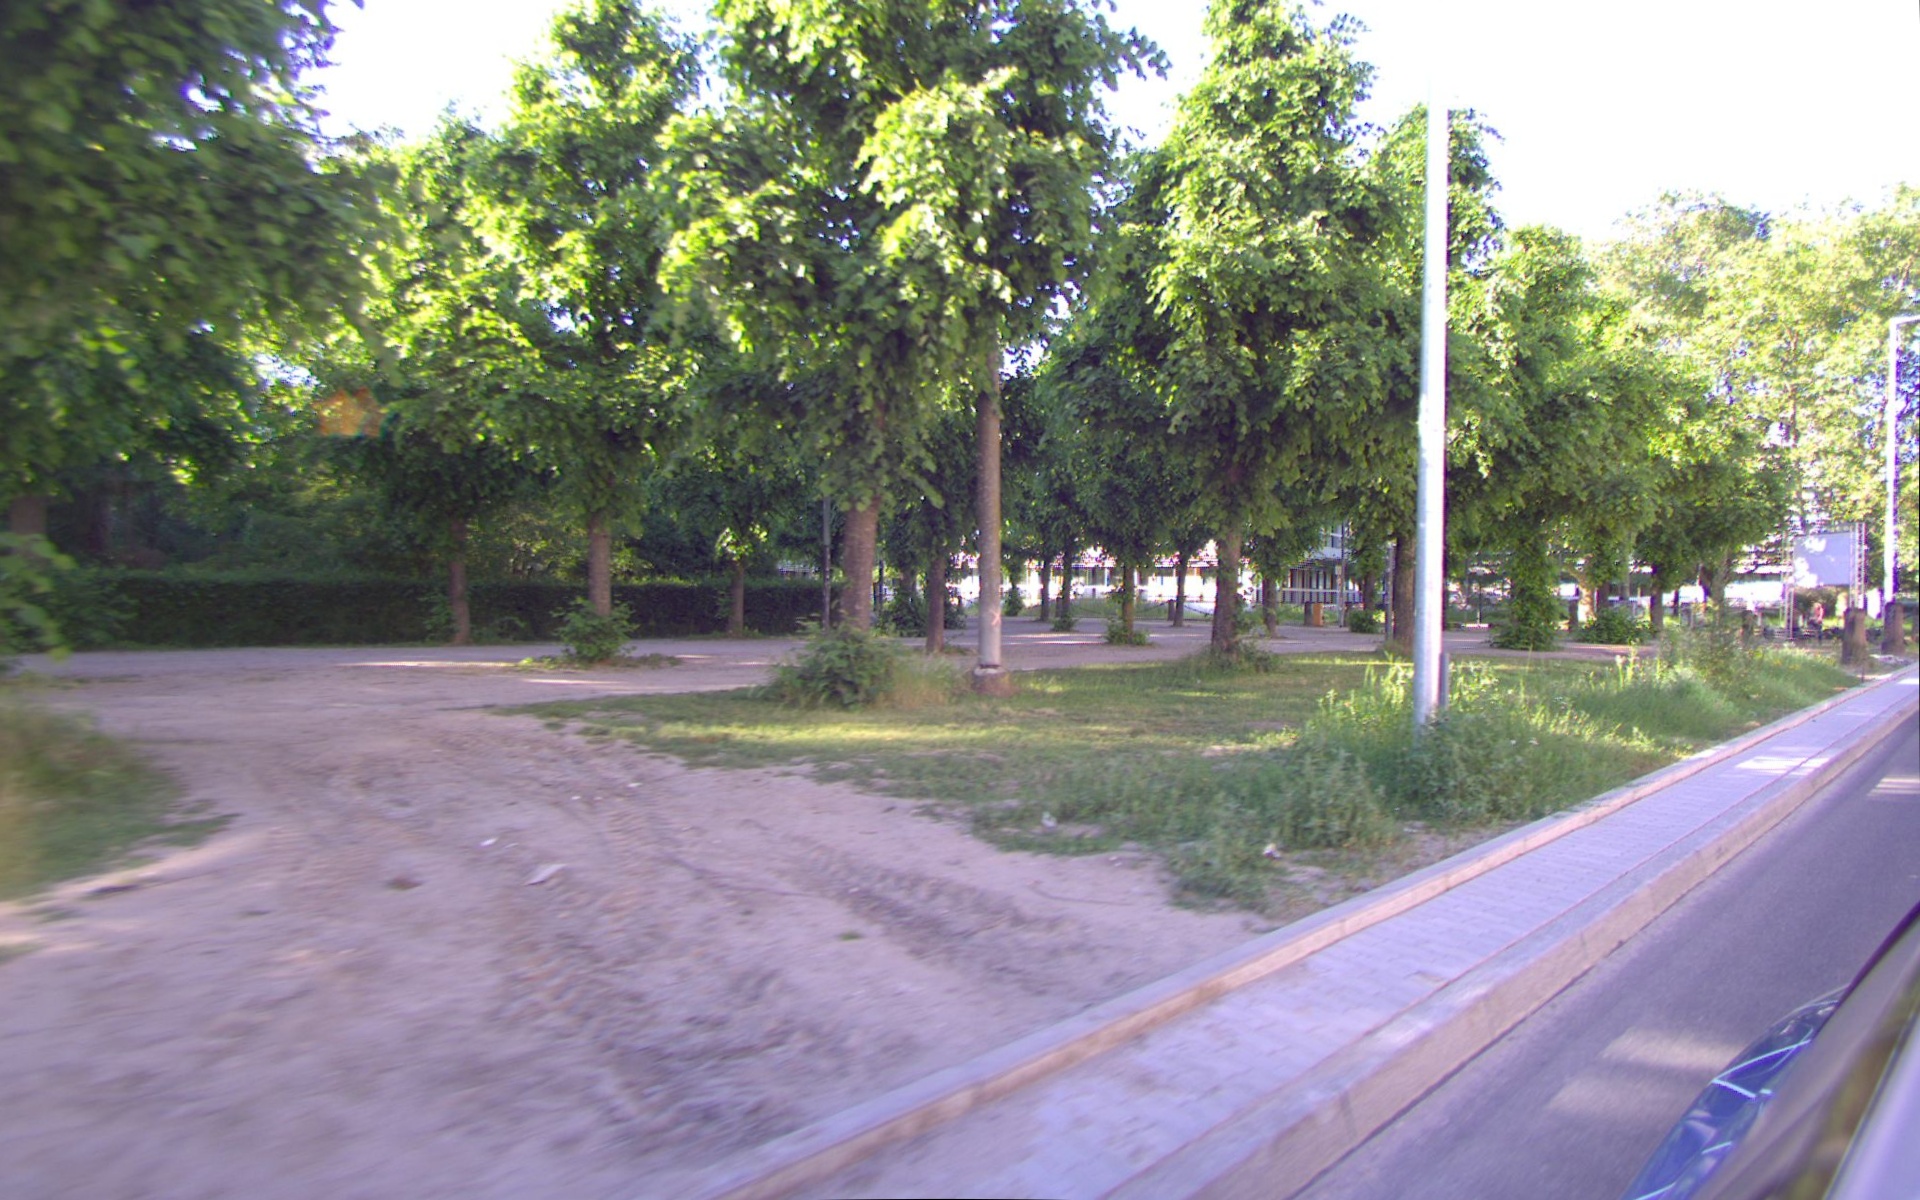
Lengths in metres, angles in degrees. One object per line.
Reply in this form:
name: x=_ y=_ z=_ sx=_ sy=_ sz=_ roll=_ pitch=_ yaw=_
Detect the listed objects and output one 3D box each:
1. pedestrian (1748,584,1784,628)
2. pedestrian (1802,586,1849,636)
pedestrian: x=33.963 y=0.255 z=42.671 sx=1.127 sy=1.836 sz=0.737 roll=1 pitch=-2 yaw=36
pedestrian: x=28.627 y=0.349 z=33.479 sx=0.923 sy=1.644 sz=0.709 roll=0 pitch=0 yaw=8
